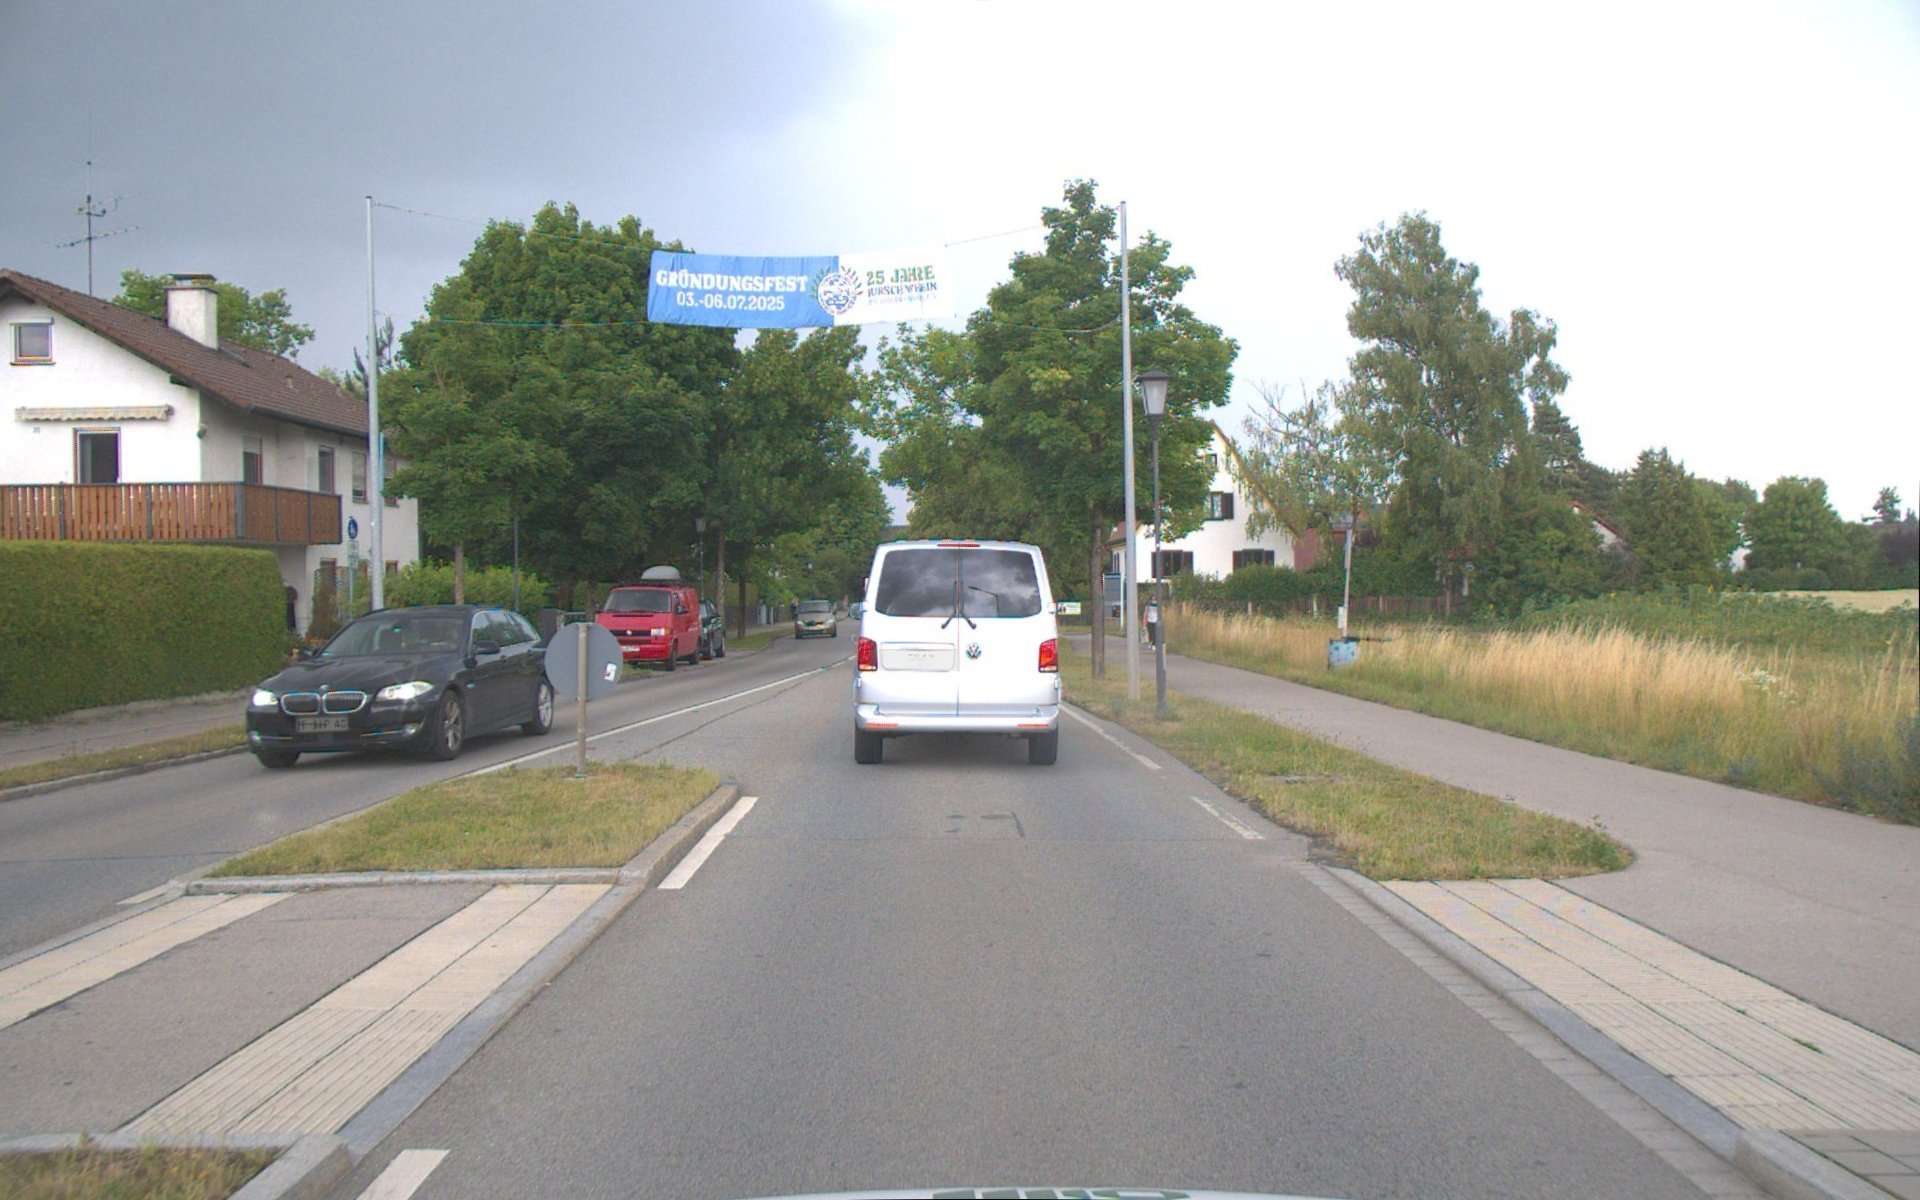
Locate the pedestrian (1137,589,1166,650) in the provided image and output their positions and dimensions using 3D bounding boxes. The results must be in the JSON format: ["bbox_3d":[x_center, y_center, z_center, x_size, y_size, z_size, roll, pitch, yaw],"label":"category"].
[{"bbox_3d":[5.736,0.581,49.616,0.820,1.785,0.870,0,0,3],"label":"pedestrian"}]

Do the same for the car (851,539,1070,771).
[{"bbox_3d":[-0.054,0.468,15.936,1.850,1.945,3.998,0,0,-2],"label":"car"}]

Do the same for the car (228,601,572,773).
[{"bbox_3d":[-5.575,0.789,17.143,1.880,1.479,4.497,-1,0,2],"label":"car"}]

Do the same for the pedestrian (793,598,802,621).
[{"bbox_3d":[-10.933,0.642,111.324,0.610,1.576,0.522,1,-1,-5],"label":"pedestrian"}]

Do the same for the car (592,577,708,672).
[{"bbox_3d":[-7.242,0.525,39.123,1.792,2.066,5.045,1,0,0],"label":"car"}]

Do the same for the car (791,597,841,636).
[{"bbox_3d":[-6.198,0.678,71.439,1.672,1.559,3.508,-2,0,2],"label":"car"}]

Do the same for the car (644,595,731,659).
[{"bbox_3d":[-7.351,0.698,45.018,1.735,1.626,4.237,0,1,-1],"label":"car"}]

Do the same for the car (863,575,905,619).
[{"bbox_3d":[-3.667,-0.139,80.454,1.953,2.049,3.999,1,0,-2],"label":"car"}]
